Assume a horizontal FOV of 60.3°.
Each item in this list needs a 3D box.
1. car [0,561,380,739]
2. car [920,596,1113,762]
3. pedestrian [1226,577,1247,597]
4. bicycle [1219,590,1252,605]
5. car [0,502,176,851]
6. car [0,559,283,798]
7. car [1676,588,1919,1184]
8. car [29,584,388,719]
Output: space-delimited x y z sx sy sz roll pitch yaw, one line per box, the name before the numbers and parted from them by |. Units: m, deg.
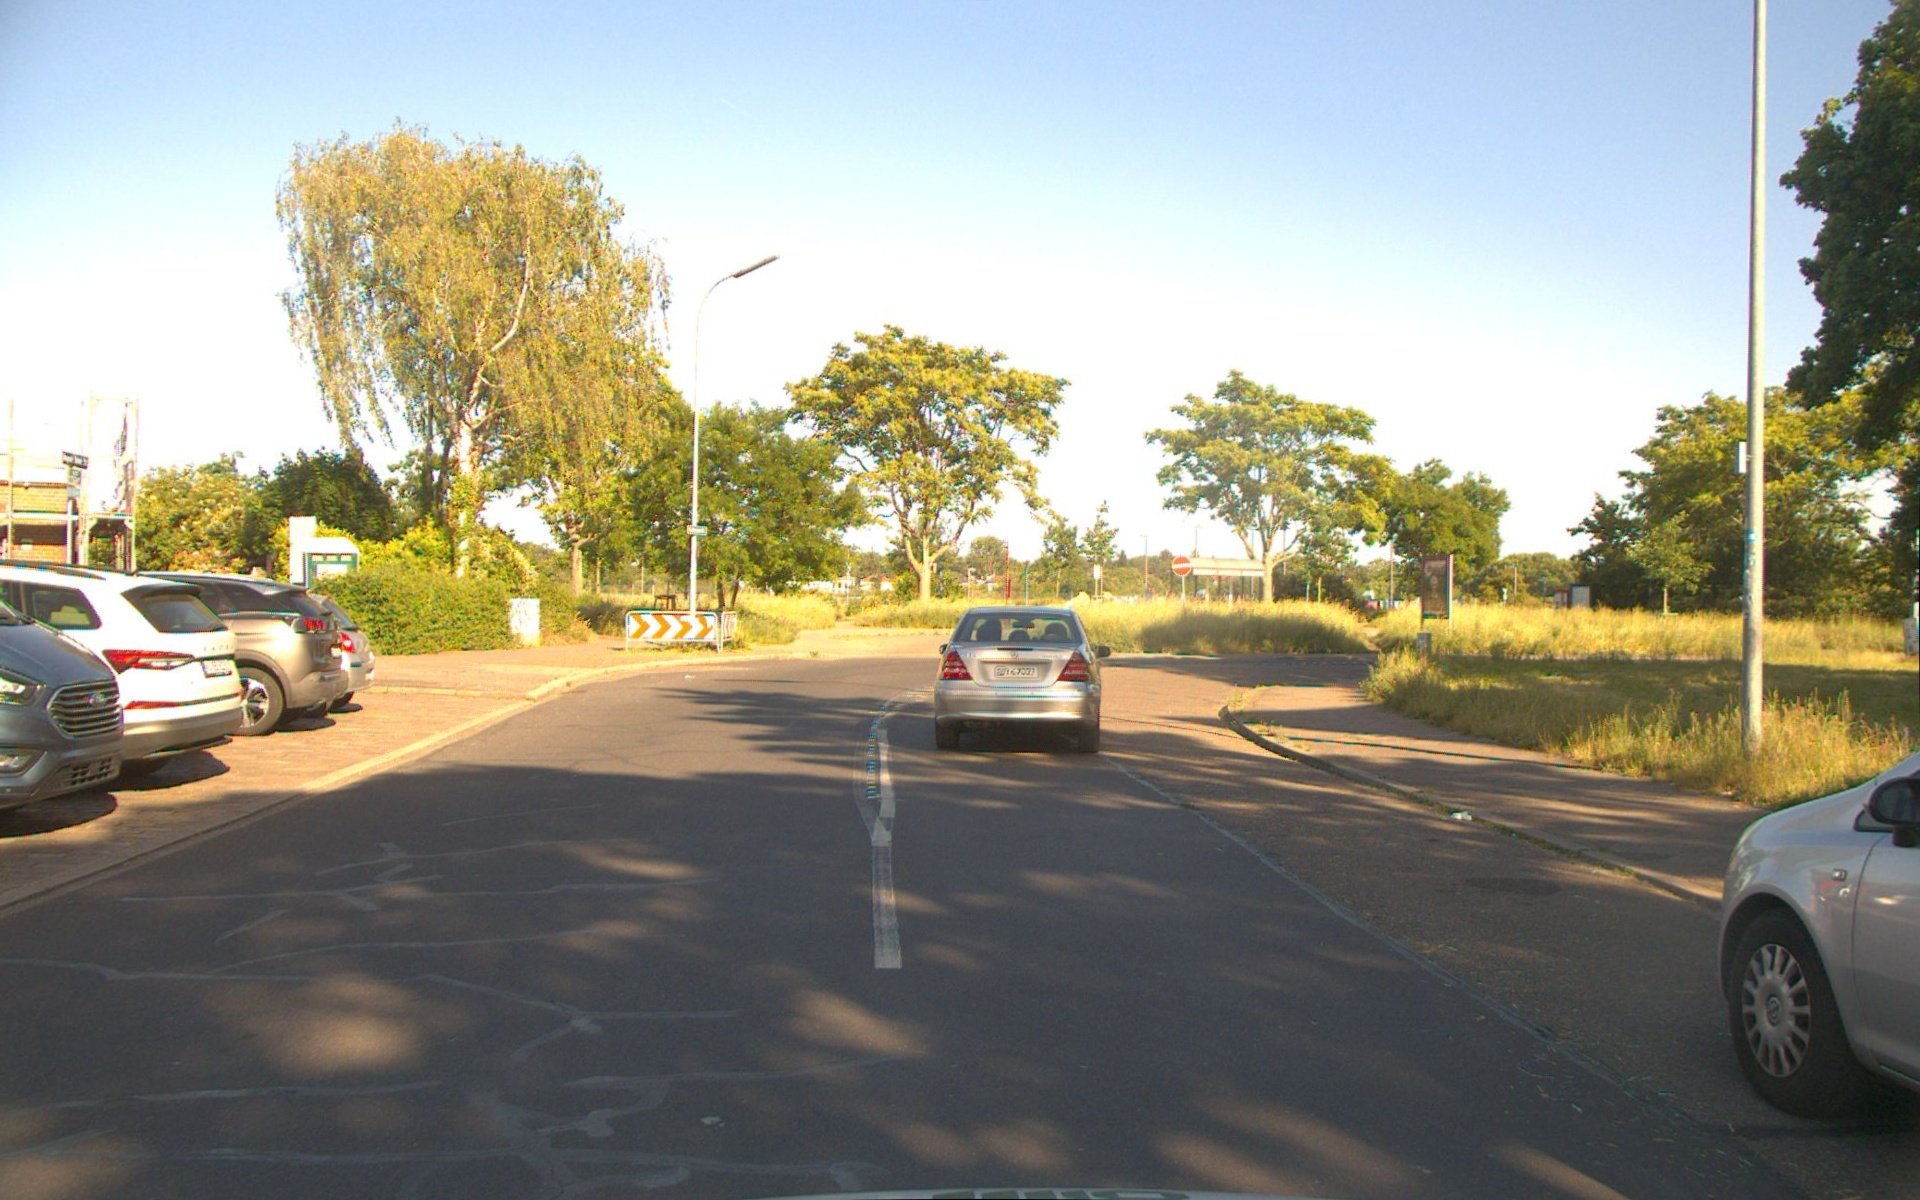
car | -8.556 0.502 17.805 3.907 1.640 1.818 3 -1 -2
car | 0.718 0.736 17.792 1.778 1.489 4.363 2 0 5
pedestrian | 13.706 -0.651 81.956 0.789 0.957 0.696 1 0 -30
bicycle | 13.648 -0.115 81.924 1.555 0.716 0.647 2 0 -30
car | -7.652 0.372 10.018 4.777 1.949 1.998 2 -1 -6
car | -7.339 0.504 12.633 3.539 1.635 1.733 3 -1 -1
car | 3.422 0.776 3.860 1.696 1.570 3.786 2 -1 -3
car | -8.997 0.611 20.086 3.620 1.484 1.630 2 0 -11
